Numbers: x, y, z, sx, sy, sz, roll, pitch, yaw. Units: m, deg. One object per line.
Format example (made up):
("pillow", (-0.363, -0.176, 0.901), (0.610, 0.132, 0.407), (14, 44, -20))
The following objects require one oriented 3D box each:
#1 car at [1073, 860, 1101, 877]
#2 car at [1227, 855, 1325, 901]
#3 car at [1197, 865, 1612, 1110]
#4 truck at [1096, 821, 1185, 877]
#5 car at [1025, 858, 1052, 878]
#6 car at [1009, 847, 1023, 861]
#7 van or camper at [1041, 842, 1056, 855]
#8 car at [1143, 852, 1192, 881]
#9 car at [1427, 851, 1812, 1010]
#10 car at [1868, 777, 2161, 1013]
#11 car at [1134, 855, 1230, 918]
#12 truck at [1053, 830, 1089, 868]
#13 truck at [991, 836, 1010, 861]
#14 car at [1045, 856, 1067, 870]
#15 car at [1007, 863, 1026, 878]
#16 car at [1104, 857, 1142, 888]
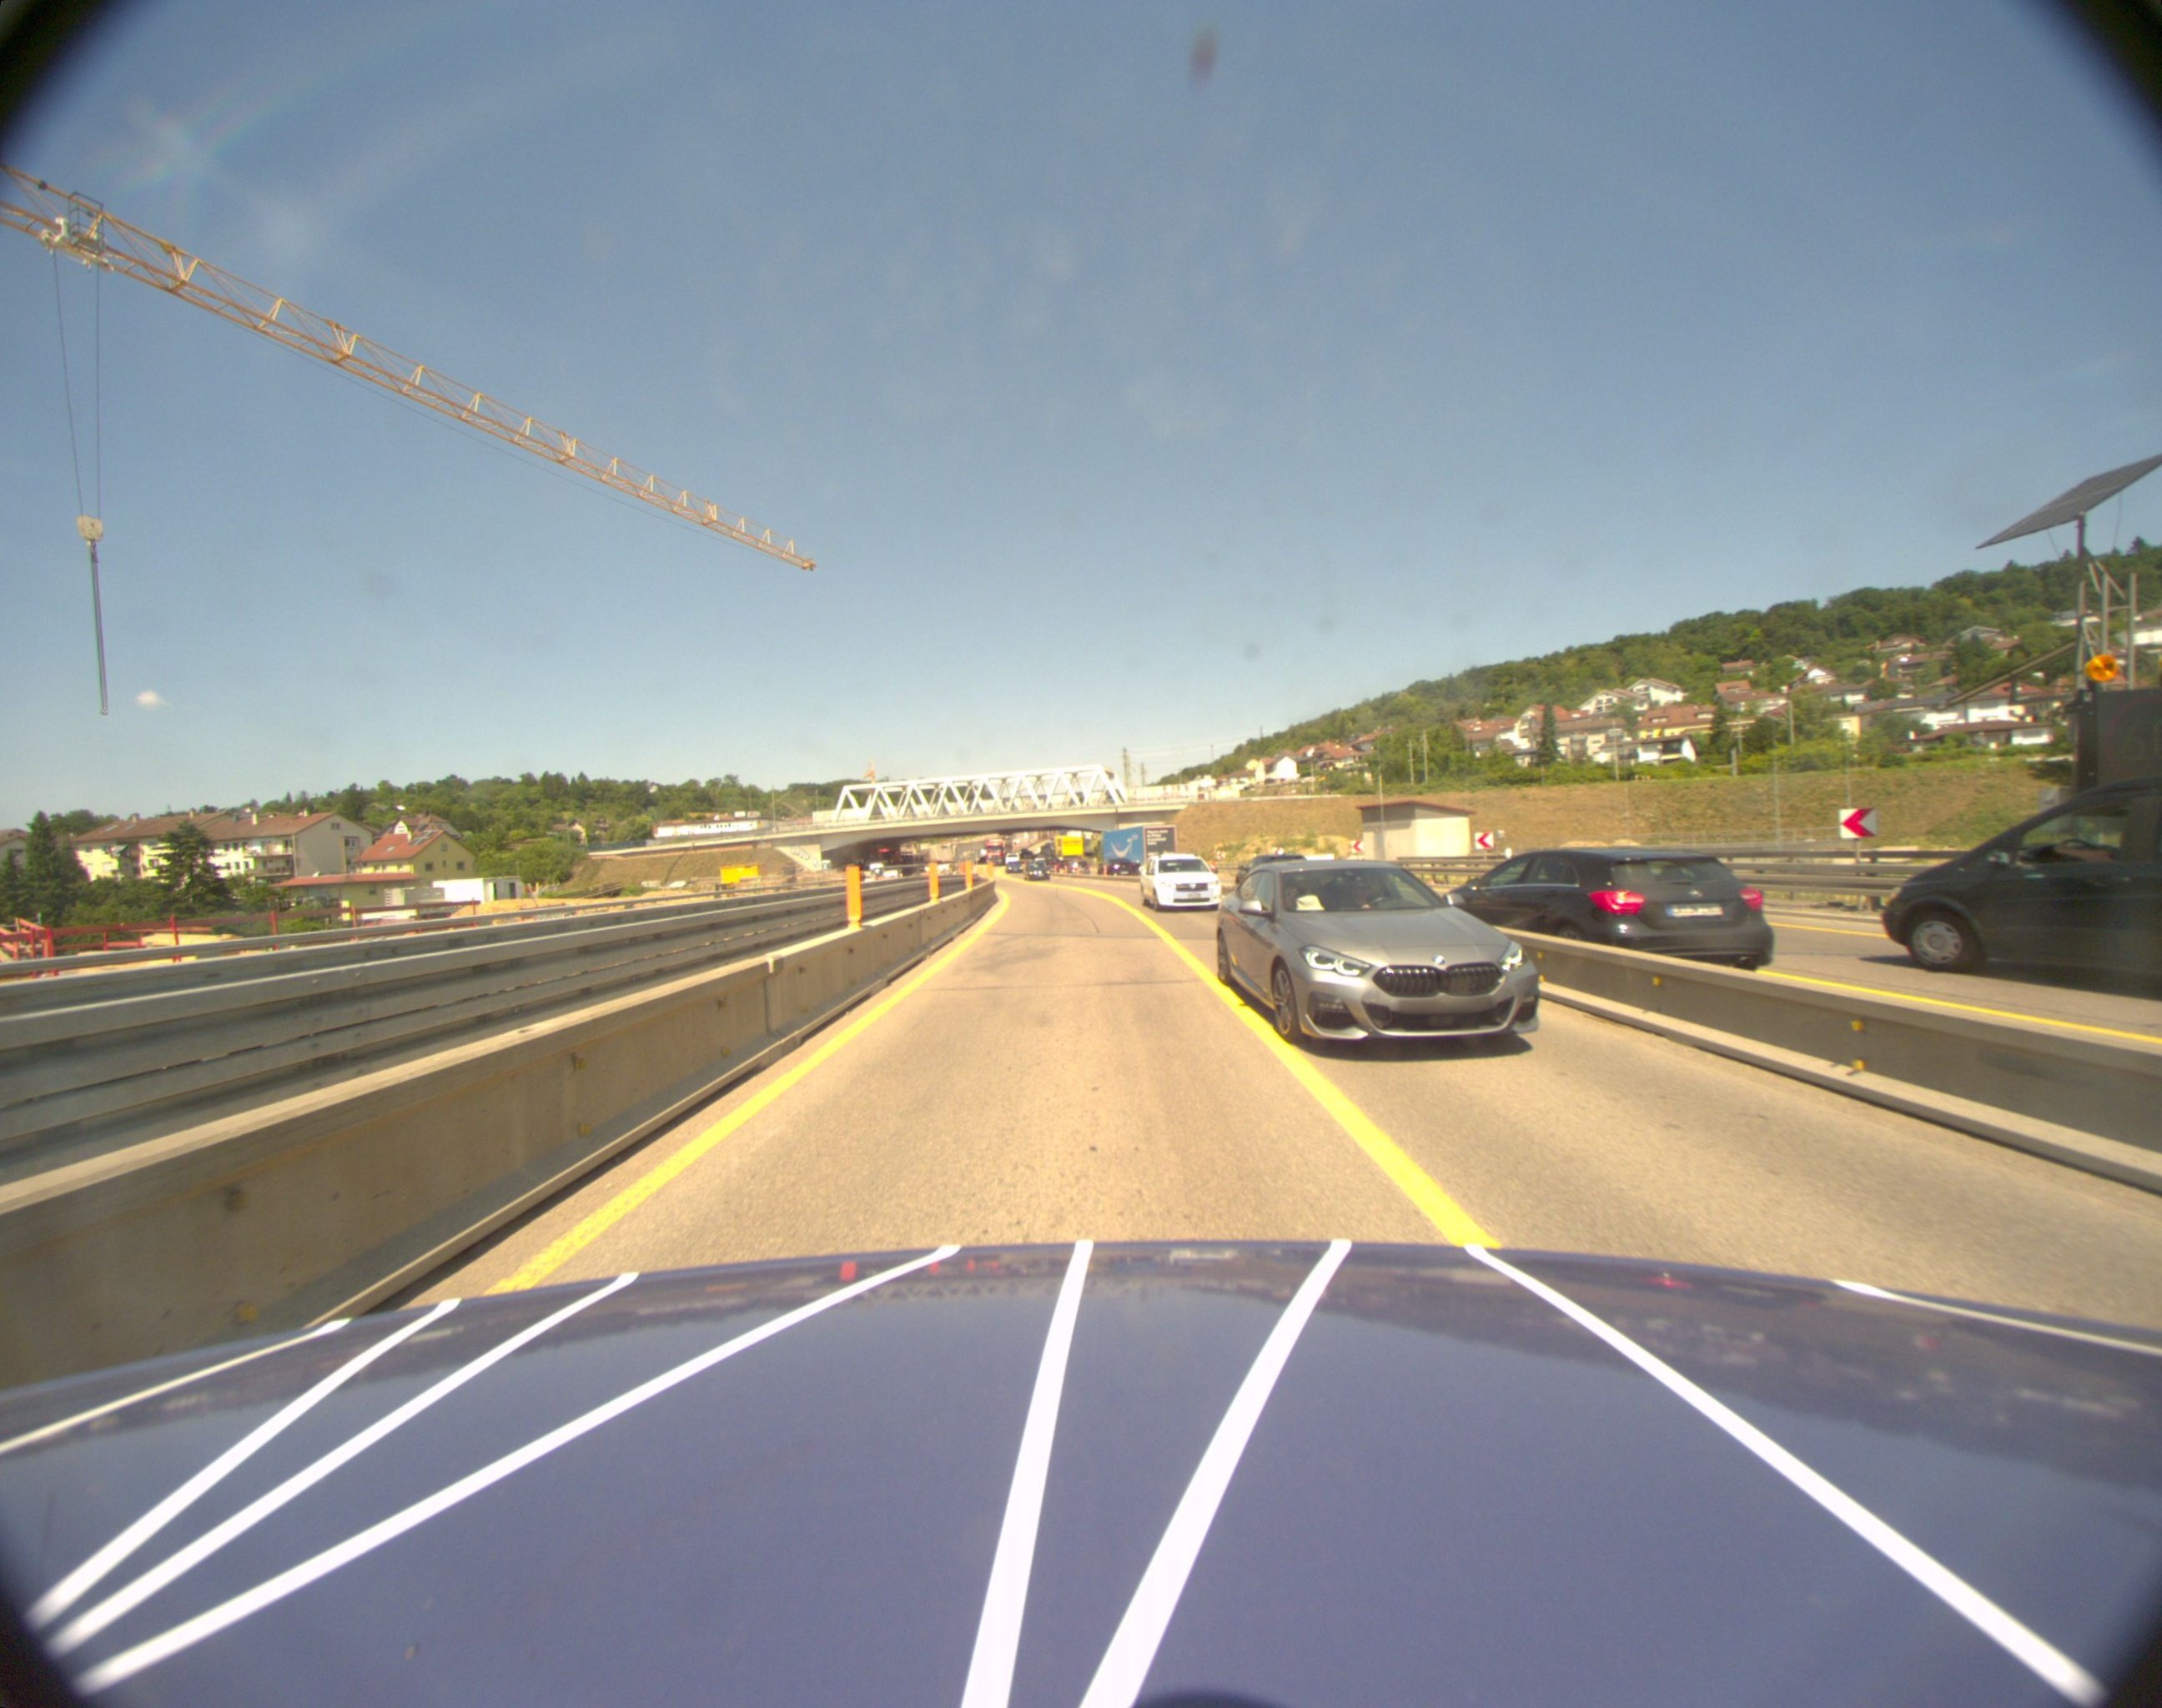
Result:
("car", (0.465, 1.247, 67.089), (1.907, 1.453, 4.191), (-1, 0, -8))
("car", (6.073, 0.707, 24.261), (1.865, 1.314, 4.688), (-1, 0, -1))
("car", (2.410, 0.881, 7.180), (1.856, 1.443, 4.742), (-2, 0, 0))
("truck", (4.599, -0.316, 65.070), (3.271, 4.111, 17.318), (-1, 0, -10))
("car", (-3.725, 1.180, 66.175), (1.864, 1.683, 4.094), (-2, 0, -10))
("car", (-9.405, -0.013, 109.813), (1.792, 1.870, 3.999), (-4, 0, -5))
("van or camper", (-5.566, -0.983, 130.281), (2.331, 2.067, 5.426), (-2, 1, 0))
("car", (4.838, 0.697, 43.086), (2.016, 1.516, 4.192), (-2, 0, -4))
("car", (5.958, 0.724, 9.131), (1.745, 1.464, 4.085), (-1, 0, 0))
("car", (9.776, 0.317, 6.054), (1.928, 1.922, 4.938), (-1, 0, 1))
("car", (2.697, 0.825, 21.425), (1.824, 1.521, 4.705), (-2, 0, -3))
("truck", (-1.408, -0.599, 98.524), (3.175, 4.531, 12.077), (-1, 0, -8))
("truck", (-12.440, -0.852, 116.686), (2.704, 3.704, 8.502), (-1, 0, -7))
("car", (-2.743, 0.959, 82.538), (1.907, 1.453, 4.190), (-1, 0, -9))
("car", (-7.564, 1.886, 88.418), (1.793, 1.578, 3.997), (-4, 0, -9))
("car", (2.985, 1.281, 54.579), (1.999, 2.002, 3.997), (-2, 1, -6))
